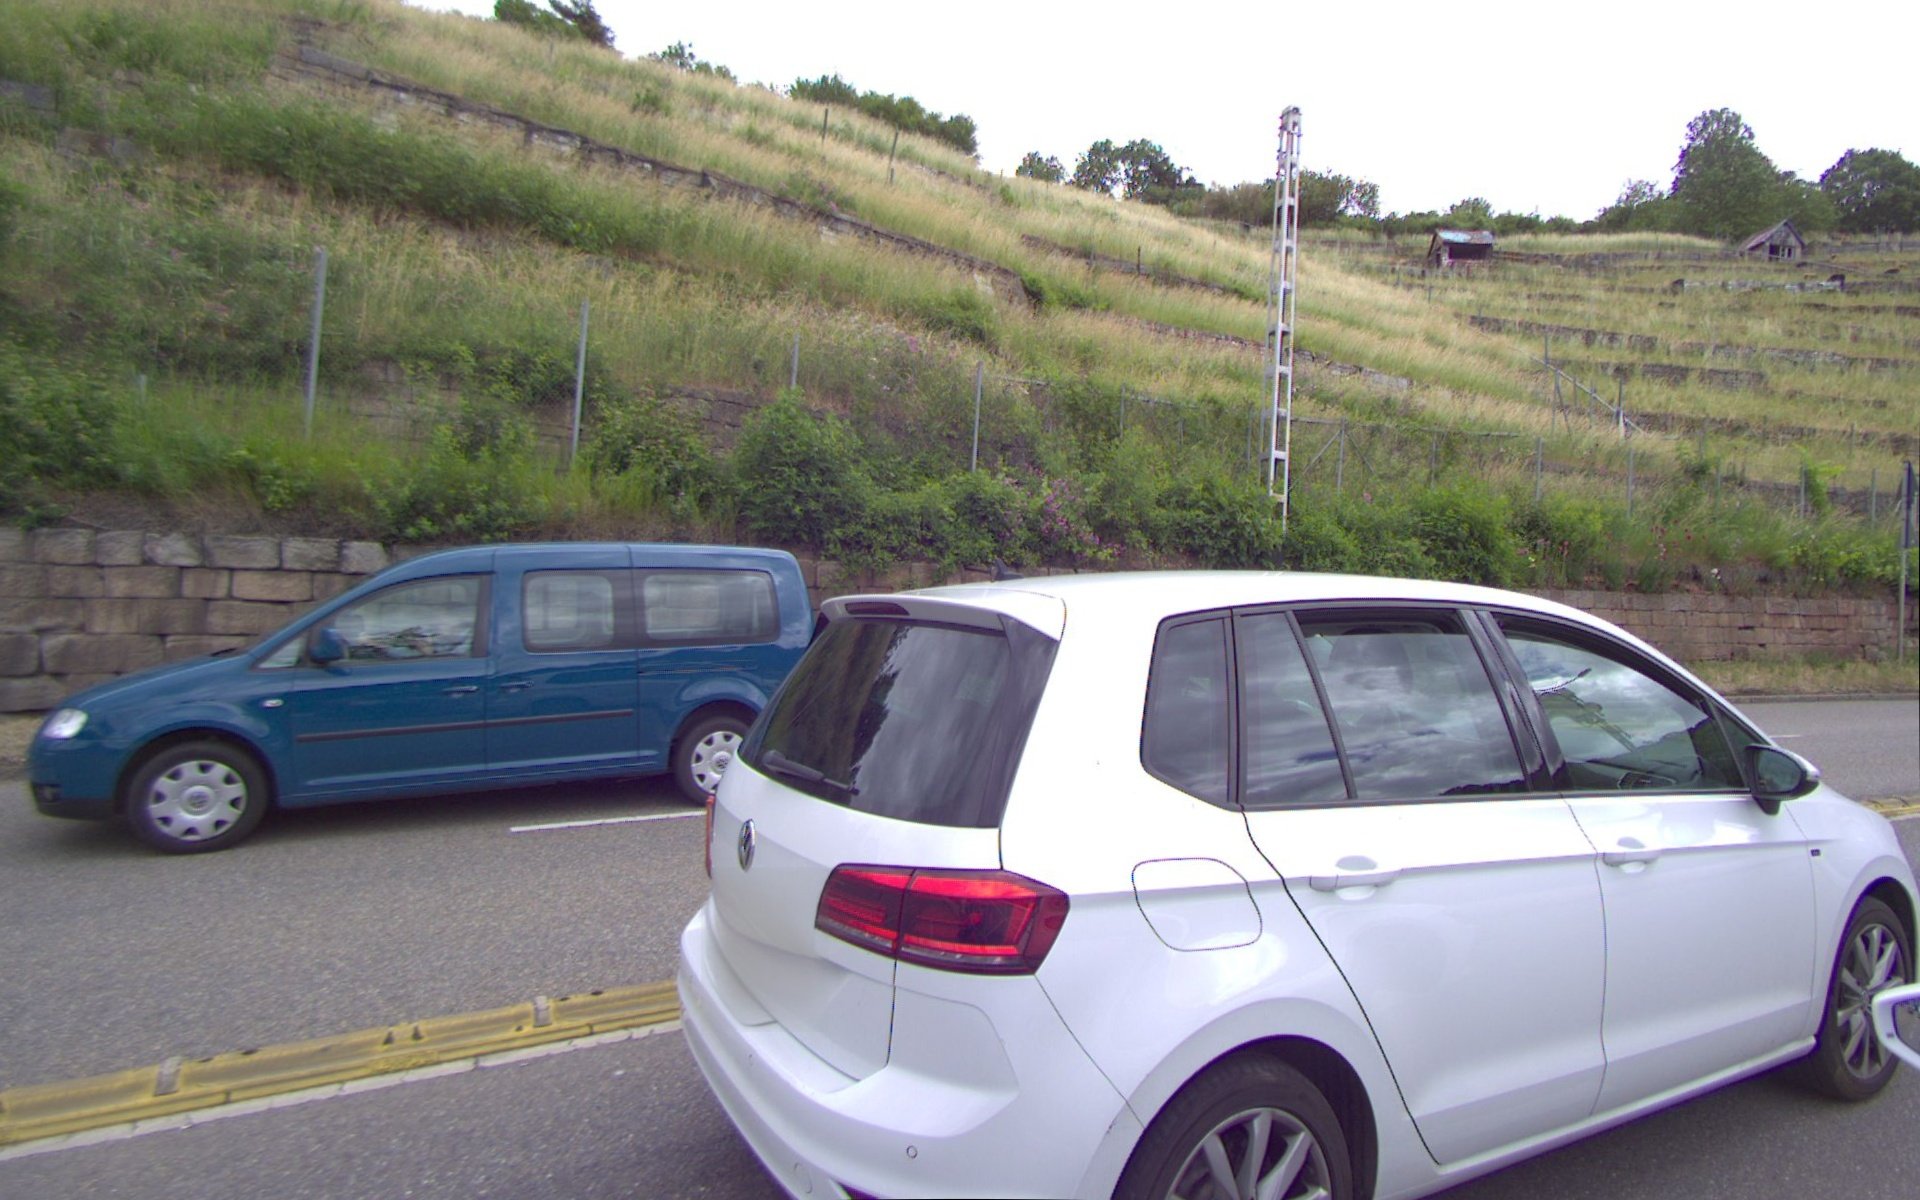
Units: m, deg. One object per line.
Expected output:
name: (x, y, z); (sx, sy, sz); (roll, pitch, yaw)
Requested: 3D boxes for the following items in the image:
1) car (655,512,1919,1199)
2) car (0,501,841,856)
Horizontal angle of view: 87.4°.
car: (1.396, 0.702, 3.240); (4.301, 1.601, 1.814); (1, 0, -28)
car: (-3.361, 0.406, 7.064); (4.678, 1.806, 1.841); (1, 1, -31)
